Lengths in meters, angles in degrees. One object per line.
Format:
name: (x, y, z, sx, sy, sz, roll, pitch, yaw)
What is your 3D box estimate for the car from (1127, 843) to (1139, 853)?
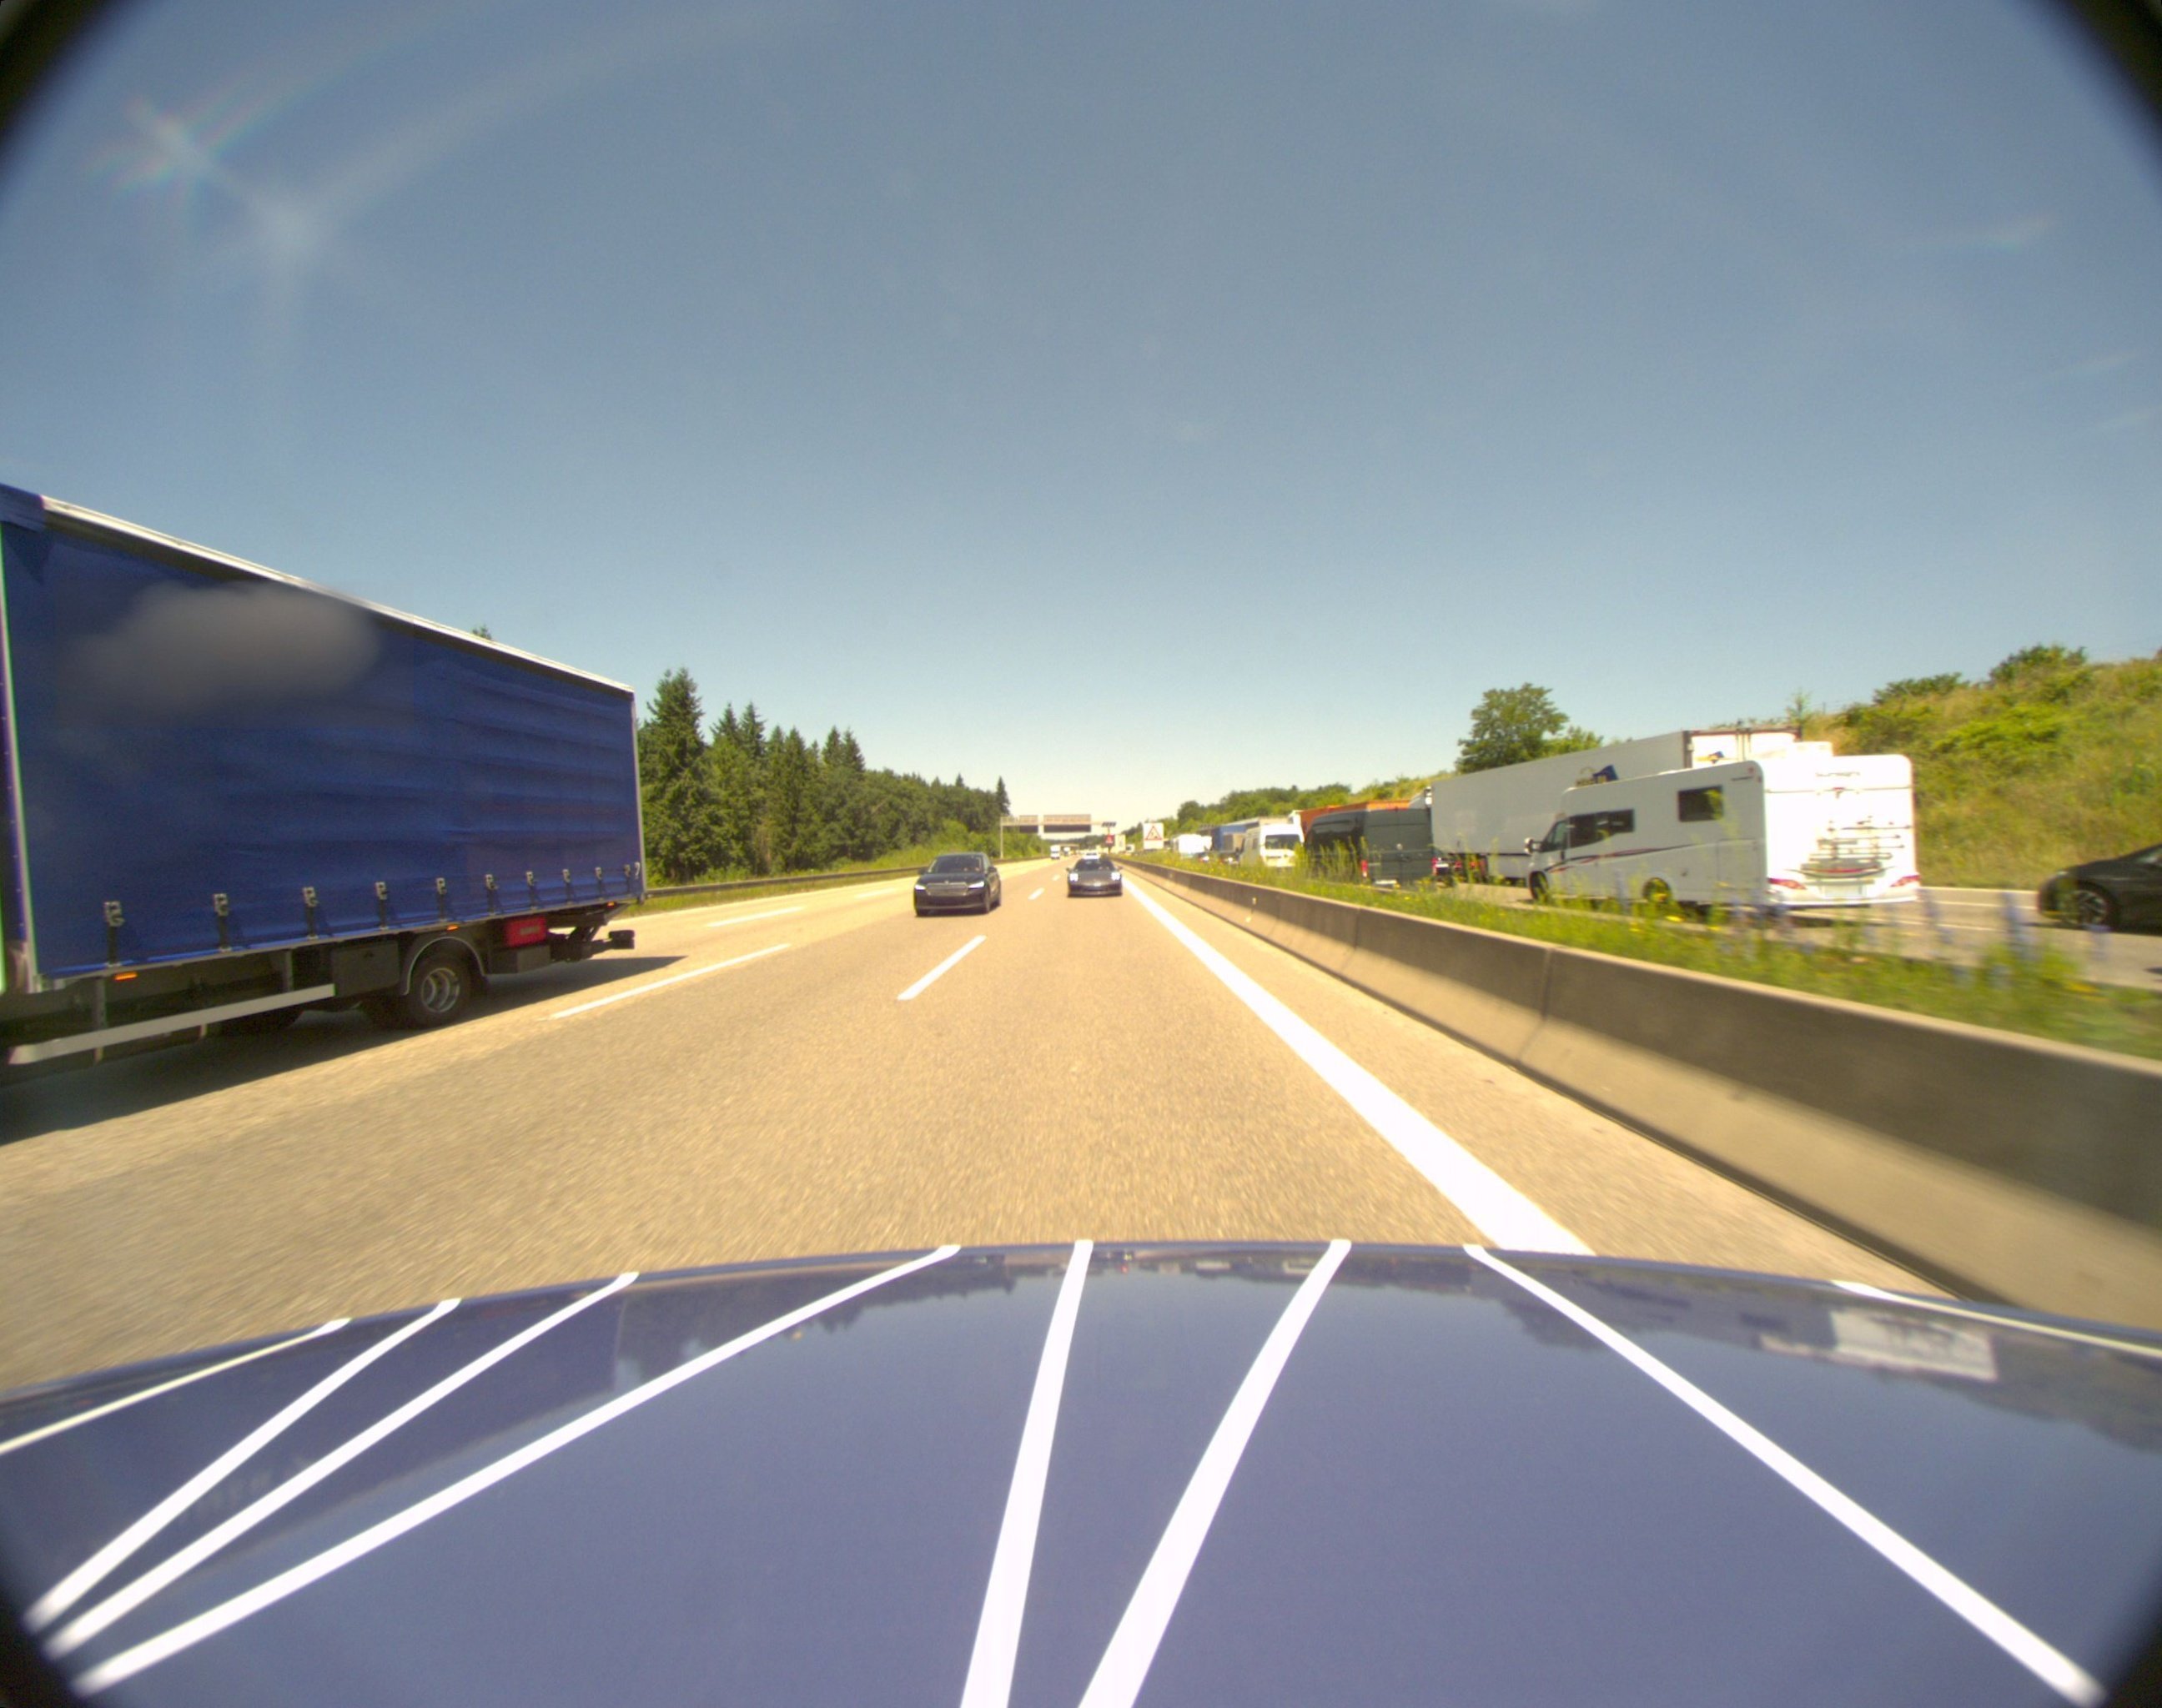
car: (9.501, -1.089, 138.959, 1.816, 1.624, 5.029, -3, 1, 1)

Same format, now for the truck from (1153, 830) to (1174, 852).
truck: (16.900, -2.616, 156.482, 3.064, 4.197, 11.485, -3, 1, 1)

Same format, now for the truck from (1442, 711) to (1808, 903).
truck: (15.468, -1.168, 23.667, 2.527, 4.301, 12.420, -3, 1, 1)

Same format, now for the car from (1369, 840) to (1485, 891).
car: (11.961, 0.321, 26.664, 1.823, 1.579, 4.882, -2, 1, 0)

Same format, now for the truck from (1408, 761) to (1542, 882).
truck: (15.636, -1.233, 30.625, 2.526, 4.301, 5.665, -3, 1, 2)

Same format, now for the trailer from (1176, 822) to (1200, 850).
trailer: (17.360, -2.954, 123.802, 2.788, 4.280, 11.711, -1, 1, 4)

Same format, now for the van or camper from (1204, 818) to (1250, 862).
van or camper: (12.165, -1.153, 63.862, 2.318, 3.371, 7.678, -2, 1, 0)

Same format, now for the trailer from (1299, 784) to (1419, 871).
trailer: (15.908, -1.446, 44.782, 2.618, 4.285, 11.998, -3, 1, 0)

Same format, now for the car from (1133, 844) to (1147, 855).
car: (9.457, -0.794, 122.281, 1.816, 1.624, 5.029, -3, 1, 1)

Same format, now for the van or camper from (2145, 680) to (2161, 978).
van or camper: (11.710, -0.207, 3.449, 2.551, 2.920, 8.130, -1, 1, 2)

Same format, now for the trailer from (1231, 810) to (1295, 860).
trailer: (16.159, -1.676, 68.558, 2.787, 4.011, 12.249, -3, 1, 1)

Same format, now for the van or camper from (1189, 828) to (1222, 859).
van or camper: (12.689, -1.096, 77.639, 2.156, 2.906, 7.223, -3, 1, 1)

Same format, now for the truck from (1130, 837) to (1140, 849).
truck: (18.465, -3.800, 258.618, 2.632, 3.875, 8.953, -3, 1, 1)

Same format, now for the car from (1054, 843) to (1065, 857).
car: (-5.276, -0.919, 187.509, 2.303, 3.317, 7.620, -3, 1, -1)

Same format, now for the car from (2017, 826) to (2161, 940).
car: (15.112, 0.373, 9.621, 1.698, 1.488, 3.926, -2, 1, 1)

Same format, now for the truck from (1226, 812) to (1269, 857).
truck: (16.264, -1.859, 74.562, 2.808, 4.104, 6.140, -3, 1, 1)

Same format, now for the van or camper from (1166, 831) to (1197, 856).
van or camper: (12.610, -1.320, 96.123, 2.848, 2.931, 8.111, -3, 1, 1)

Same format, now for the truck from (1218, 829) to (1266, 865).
truck: (12.179, -0.571, 58.012, 2.240, 2.491, 6.861, -2, 1, 0)

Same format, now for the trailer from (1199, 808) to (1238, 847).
trailer: (16.329, -3.089, 91.017, 2.796, 4.216, 10.791, -3, 1, 1)

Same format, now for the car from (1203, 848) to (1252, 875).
car: (8.241, 0.376, 43.103, 1.823, 1.400, 4.882, -2, 1, 0)

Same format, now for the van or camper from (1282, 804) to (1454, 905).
van or camper: (8.012, -0.043, 22.288, 2.303, 2.421, 7.282, -2, 1, 0)

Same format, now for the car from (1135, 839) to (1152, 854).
car: (8.396, -1.025, 102.044, 1.816, 1.799, 5.542, -3, 1, 1)

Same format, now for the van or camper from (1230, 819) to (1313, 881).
van or camper: (8.489, -0.220, 34.466, 2.198, 2.491, 6.057, -2, 1, 0)

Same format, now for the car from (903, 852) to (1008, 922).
car: (-3.274, 0.811, 20.789, 1.989, 1.610, 4.457, -2, 1, 1)

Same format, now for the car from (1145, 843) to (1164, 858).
car: (8.540, -0.435, 88.739, 1.816, 1.720, 4.972, -3, 1, 1)

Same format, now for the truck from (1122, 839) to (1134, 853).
truck: (9.812, -1.759, 159.762, 2.125, 2.825, 6.211, -3, 1, 1)

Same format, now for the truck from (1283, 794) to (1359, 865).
truck: (15.942, -1.557, 51.011, 2.596, 4.301, 7.291, -3, 1, 0)

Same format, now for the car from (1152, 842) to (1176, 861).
car: (8.013, -0.260, 73.510, 1.816, 1.720, 4.934, -3, 1, 1)

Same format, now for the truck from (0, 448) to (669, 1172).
truck: (-7.507, -0.245, 6.184, 2.790, 4.105, 9.738, -3, 1, 0)

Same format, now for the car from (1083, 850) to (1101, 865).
car: (1.127, 0.337, 79.184, 1.719, 1.432, 4.456, -1, 1, -1)

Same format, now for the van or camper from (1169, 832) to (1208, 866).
van or camper: (8.608, -0.445, 61.245, 2.198, 2.526, 6.415, -2, 1, 0)

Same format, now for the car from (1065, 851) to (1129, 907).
car: (0.511, 0.707, 23.880, 1.718, 1.432, 4.457, -4, 1, 1)

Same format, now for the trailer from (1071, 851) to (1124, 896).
trailer: (0.578, 0.651, 27.131, 1.689, 1.399, 3.046, -3, 1, 1)

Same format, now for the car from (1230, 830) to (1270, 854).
car: (11.208, -0.800, 50.668, 1.735, 1.457, 4.113, -2, 1, 0)

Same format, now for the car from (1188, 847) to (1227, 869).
car: (8.497, 0.238, 51.429, 1.906, 1.400, 4.430, -2, 1, 0)

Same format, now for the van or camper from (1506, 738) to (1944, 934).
van or camper: (12.018, -0.327, 15.518, 2.551, 2.920, 7.827, -1, 1, 2)
